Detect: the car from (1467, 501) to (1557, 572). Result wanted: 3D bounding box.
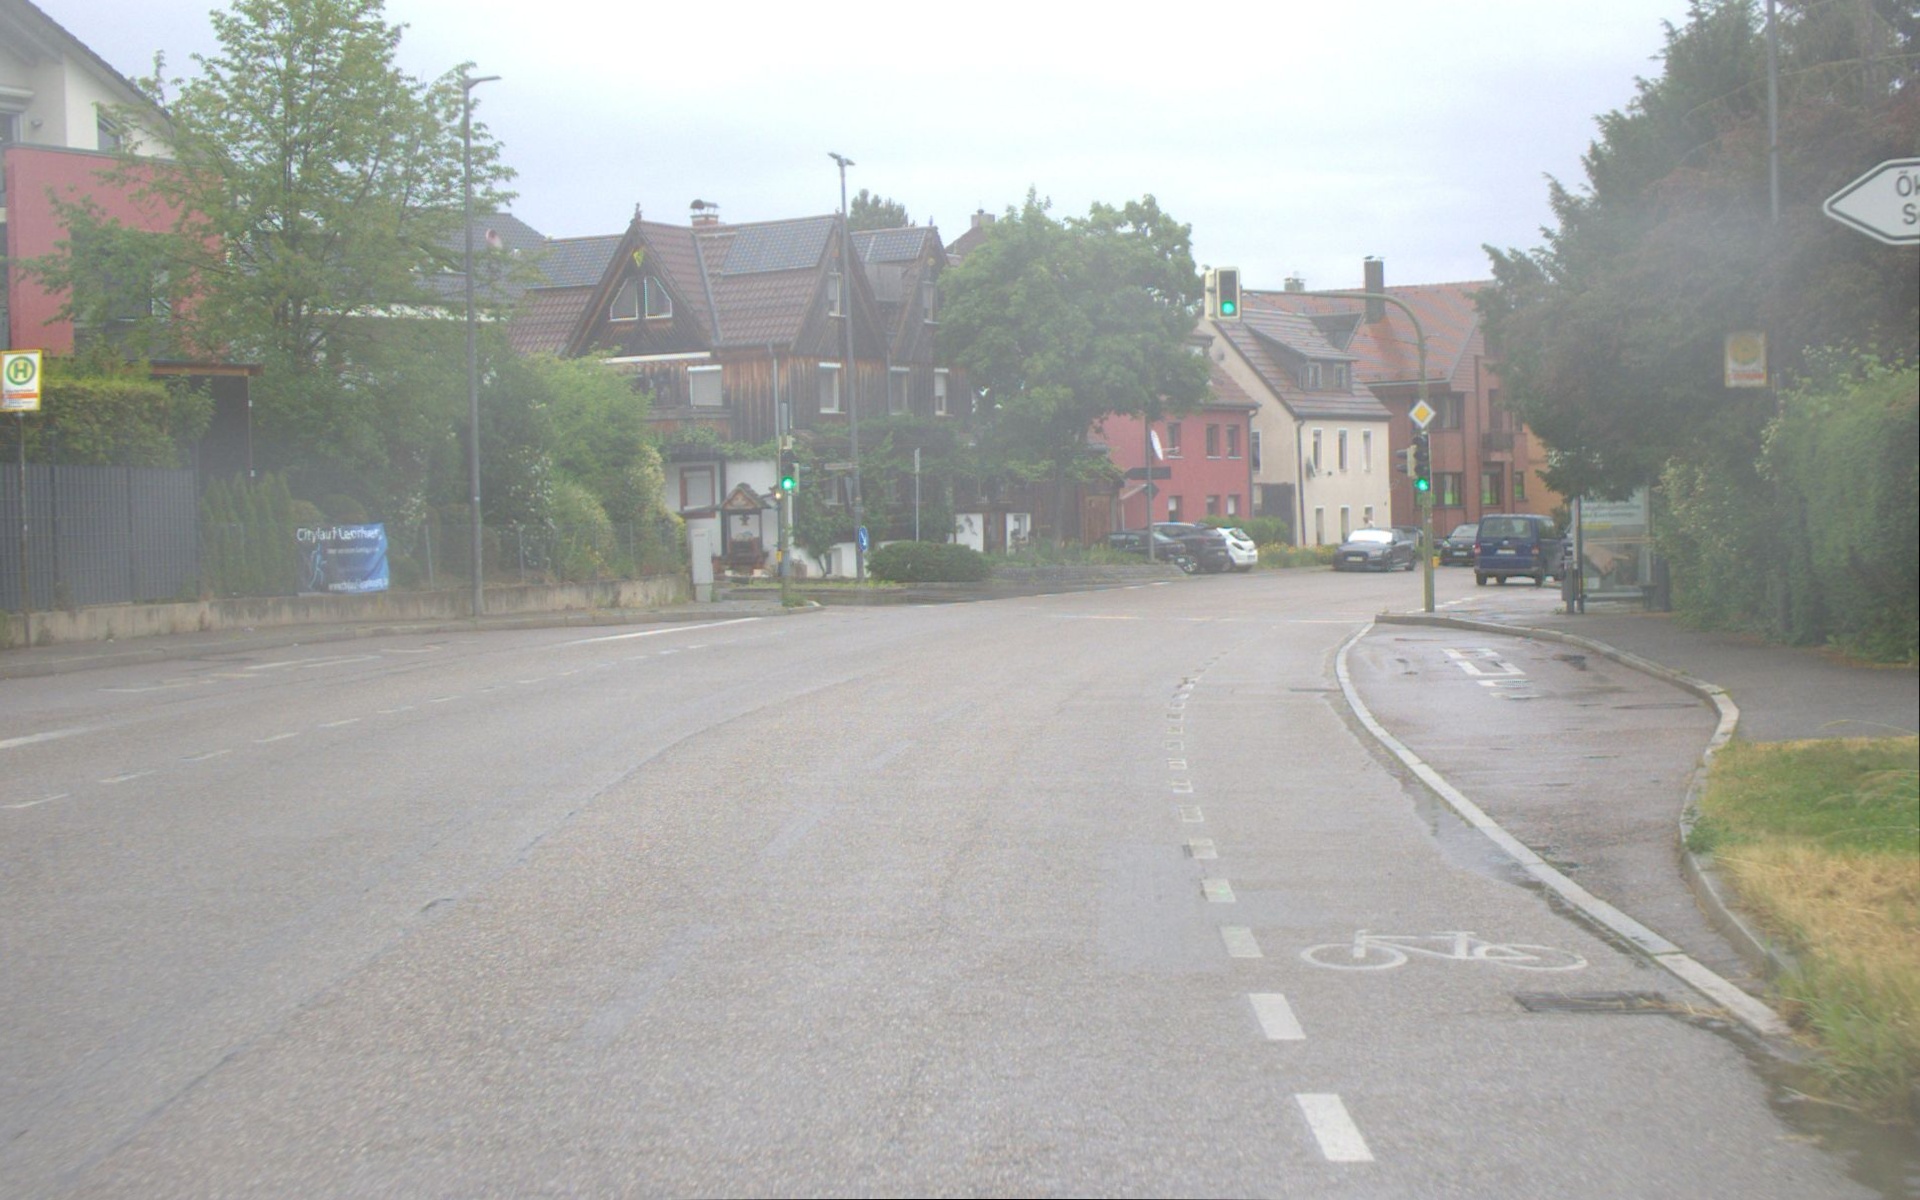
[{"bbox_3d":[15.361,-1.785,95.560,1.932,1.896,4.790,1,2,15],"label":"car"}]

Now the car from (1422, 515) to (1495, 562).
[{"bbox_3d":[17.536,-2.164,120.853,1.607,1.612,3.272,-1,1,26],"label":"car"}]

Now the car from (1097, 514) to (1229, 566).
[{"bbox_3d":[6.247,-1.854,105.622,3.582,1.501,1.852,2,2,30],"label":"car"}]

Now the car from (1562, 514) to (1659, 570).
[{"bbox_3d":[20.867,-1.883,110.168,1.911,1.711,4.549,2,2,26],"label":"car"}]

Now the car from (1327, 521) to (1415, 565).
[{"bbox_3d":[13.312,-1.869,111.312,1.629,1.351,4.105,2,2,25],"label":"car"}]

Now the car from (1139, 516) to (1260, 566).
[{"bbox_3d":[7.558,-1.861,108.505,3.466,1.474,1.588,-1,1,28],"label":"car"}]

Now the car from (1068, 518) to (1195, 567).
[{"bbox_3d":[5.170,-1.726,103.649,3.451,1.413,1.630,-1,1,28],"label":"car"}]
